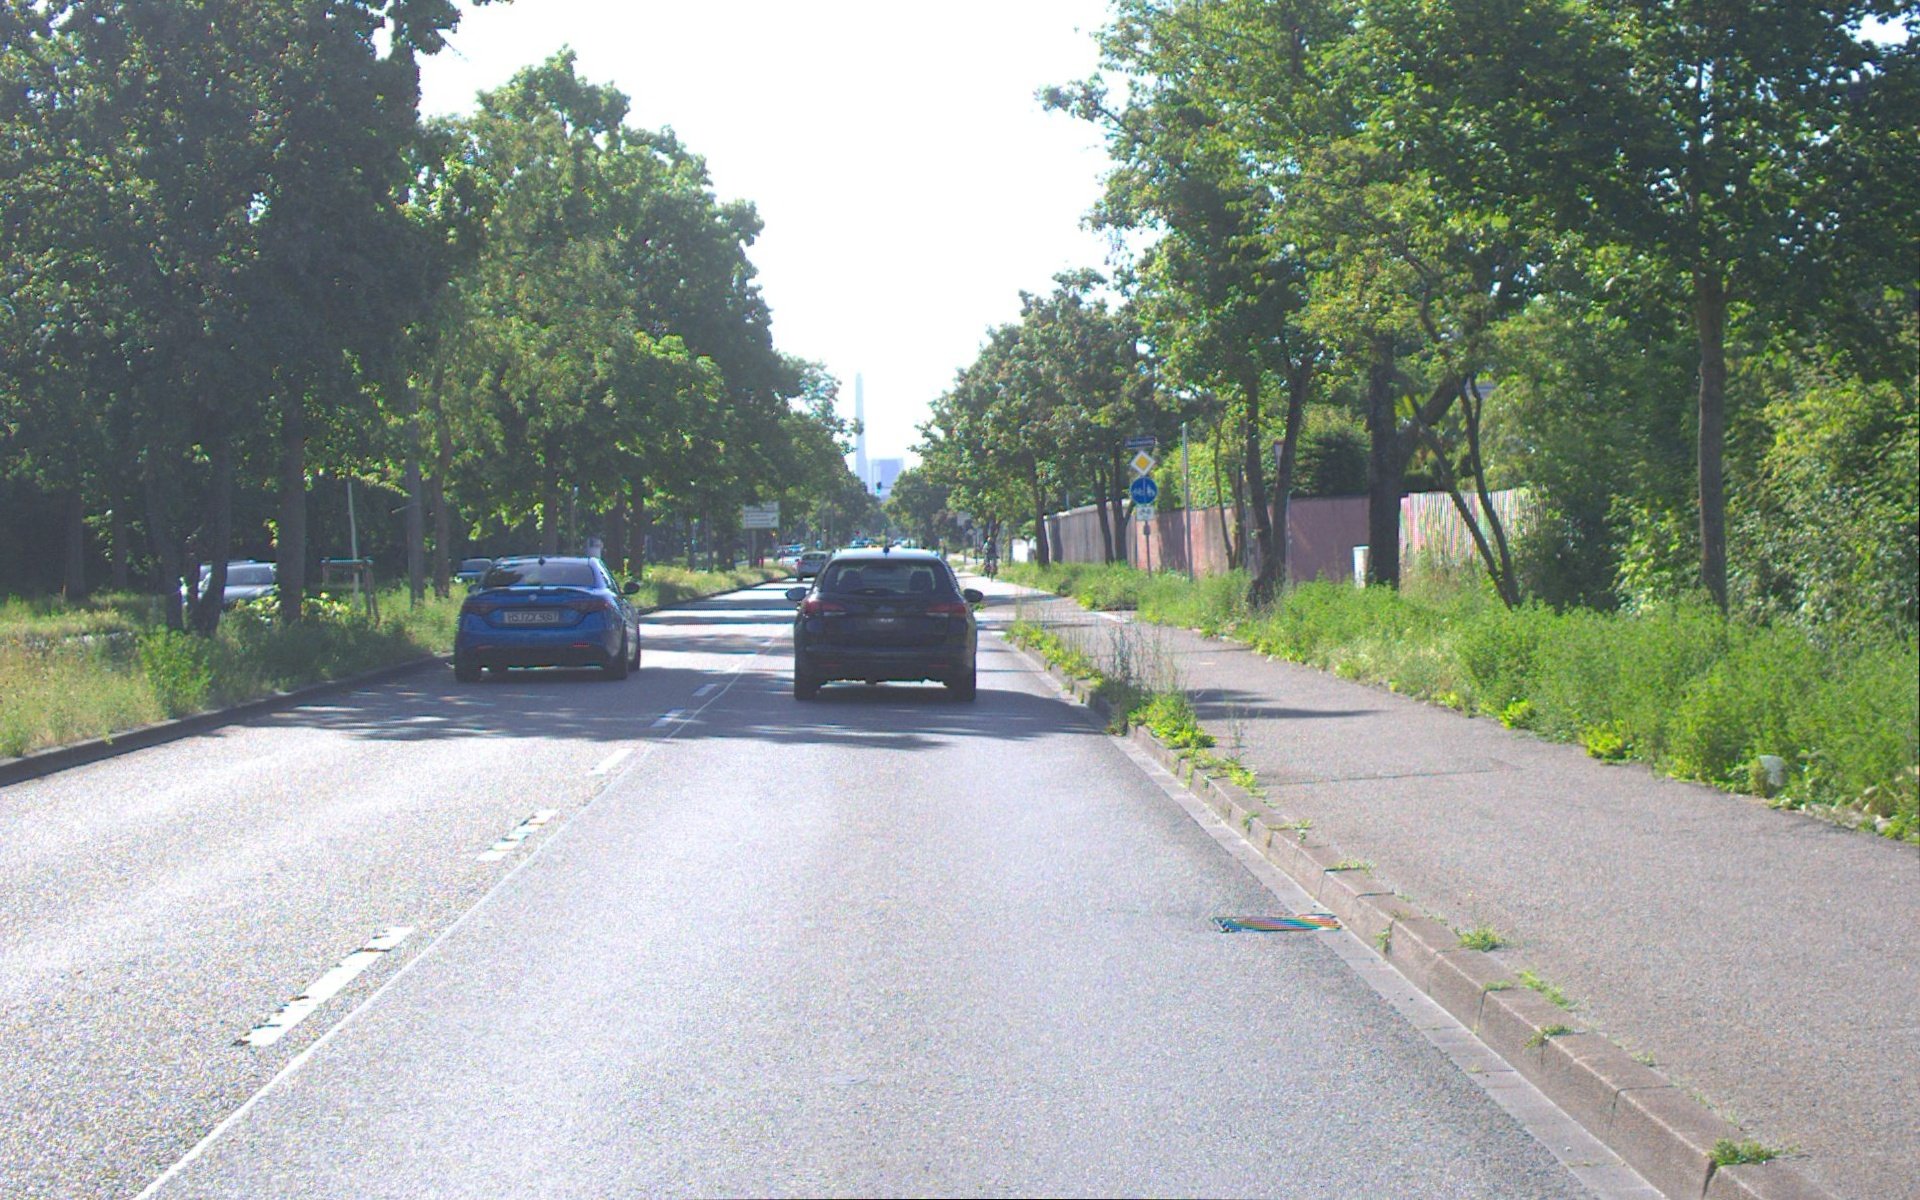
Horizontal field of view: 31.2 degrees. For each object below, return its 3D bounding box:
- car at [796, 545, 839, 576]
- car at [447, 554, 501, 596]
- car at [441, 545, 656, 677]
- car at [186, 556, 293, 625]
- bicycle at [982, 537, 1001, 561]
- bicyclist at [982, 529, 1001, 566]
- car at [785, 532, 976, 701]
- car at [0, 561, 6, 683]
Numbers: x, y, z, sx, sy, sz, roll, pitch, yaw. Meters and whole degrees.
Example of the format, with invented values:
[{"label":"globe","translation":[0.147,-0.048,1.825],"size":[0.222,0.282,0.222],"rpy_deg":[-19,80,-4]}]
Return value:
[{"label":"car","translation":[-7.124,-1.971,171.802],"size":[1.978,1.435,4.001],"rpy_deg":[-1,2,-5]},{"label":"car","translation":[-19.476,-0.997,137.833],"size":[1.715,1.500,3.016],"rpy_deg":[-3,2,-1]},{"label":"car","translation":[-4.658,0.083,39.455],"size":[1.994,1.400,4.000],"rpy_deg":[-1,1,0]},{"label":"car","translation":[-17.832,-0.259,85.256],"size":[1.839,1.584,4.586],"rpy_deg":[-1,1,-3]},{"label":"bicycle","translation":[1.183,-1.962,130.934],"size":[0.655,0.889,1.875],"rpy_deg":[-1,1,-1]},{"label":"bicyclist","translation":[1.193,-1.996,131.046],"size":[0.680,1.414,0.812],"rpy_deg":[-1,1,-1]},{"label":"car","translation":[-0.748,0.126,34.074],"size":[1.760,1.554,4.000],"rpy_deg":[1,1,0]},{"label":"car","translation":[-13.414,0.336,43.003],"size":[1.713,1.597,4.359],"rpy_deg":[-1,1,0]}]
